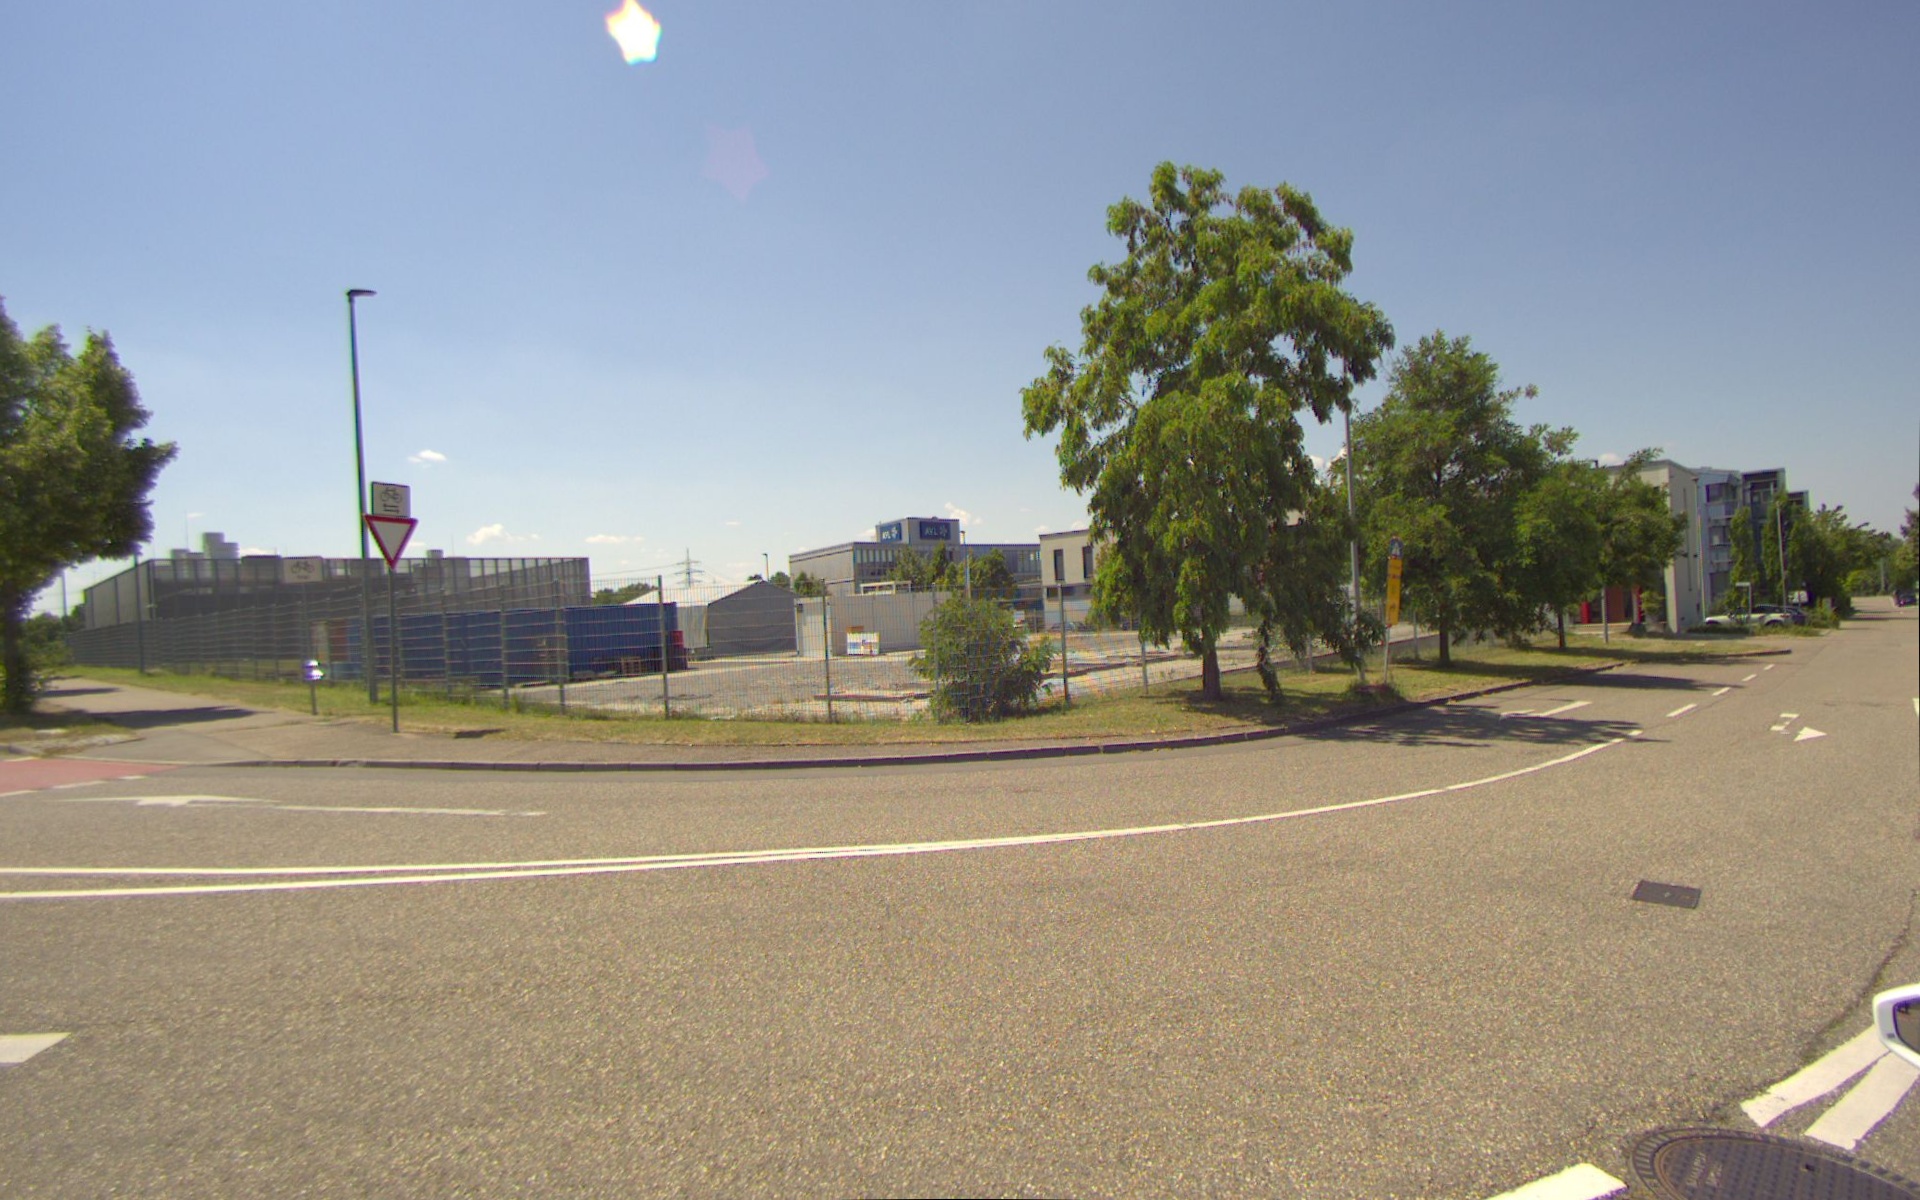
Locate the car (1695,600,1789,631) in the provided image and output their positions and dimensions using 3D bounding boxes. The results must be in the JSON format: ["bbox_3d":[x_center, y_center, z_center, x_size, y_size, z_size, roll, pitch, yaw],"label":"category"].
[{"bbox_3d":[43.506,0.877,55.911,4.001,1.514,1.720,-4,-2,41],"label":"car"}]

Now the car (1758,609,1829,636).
[{"bbox_3d":[48.150,1.310,58.102,3.019,1.498,1.288,-3,-2,37],"label":"car"}]

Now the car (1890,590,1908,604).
[{"bbox_3d":[126.980,-0.417,135.828,1.743,1.778,3.921,-4,-2,43],"label":"car"}]
